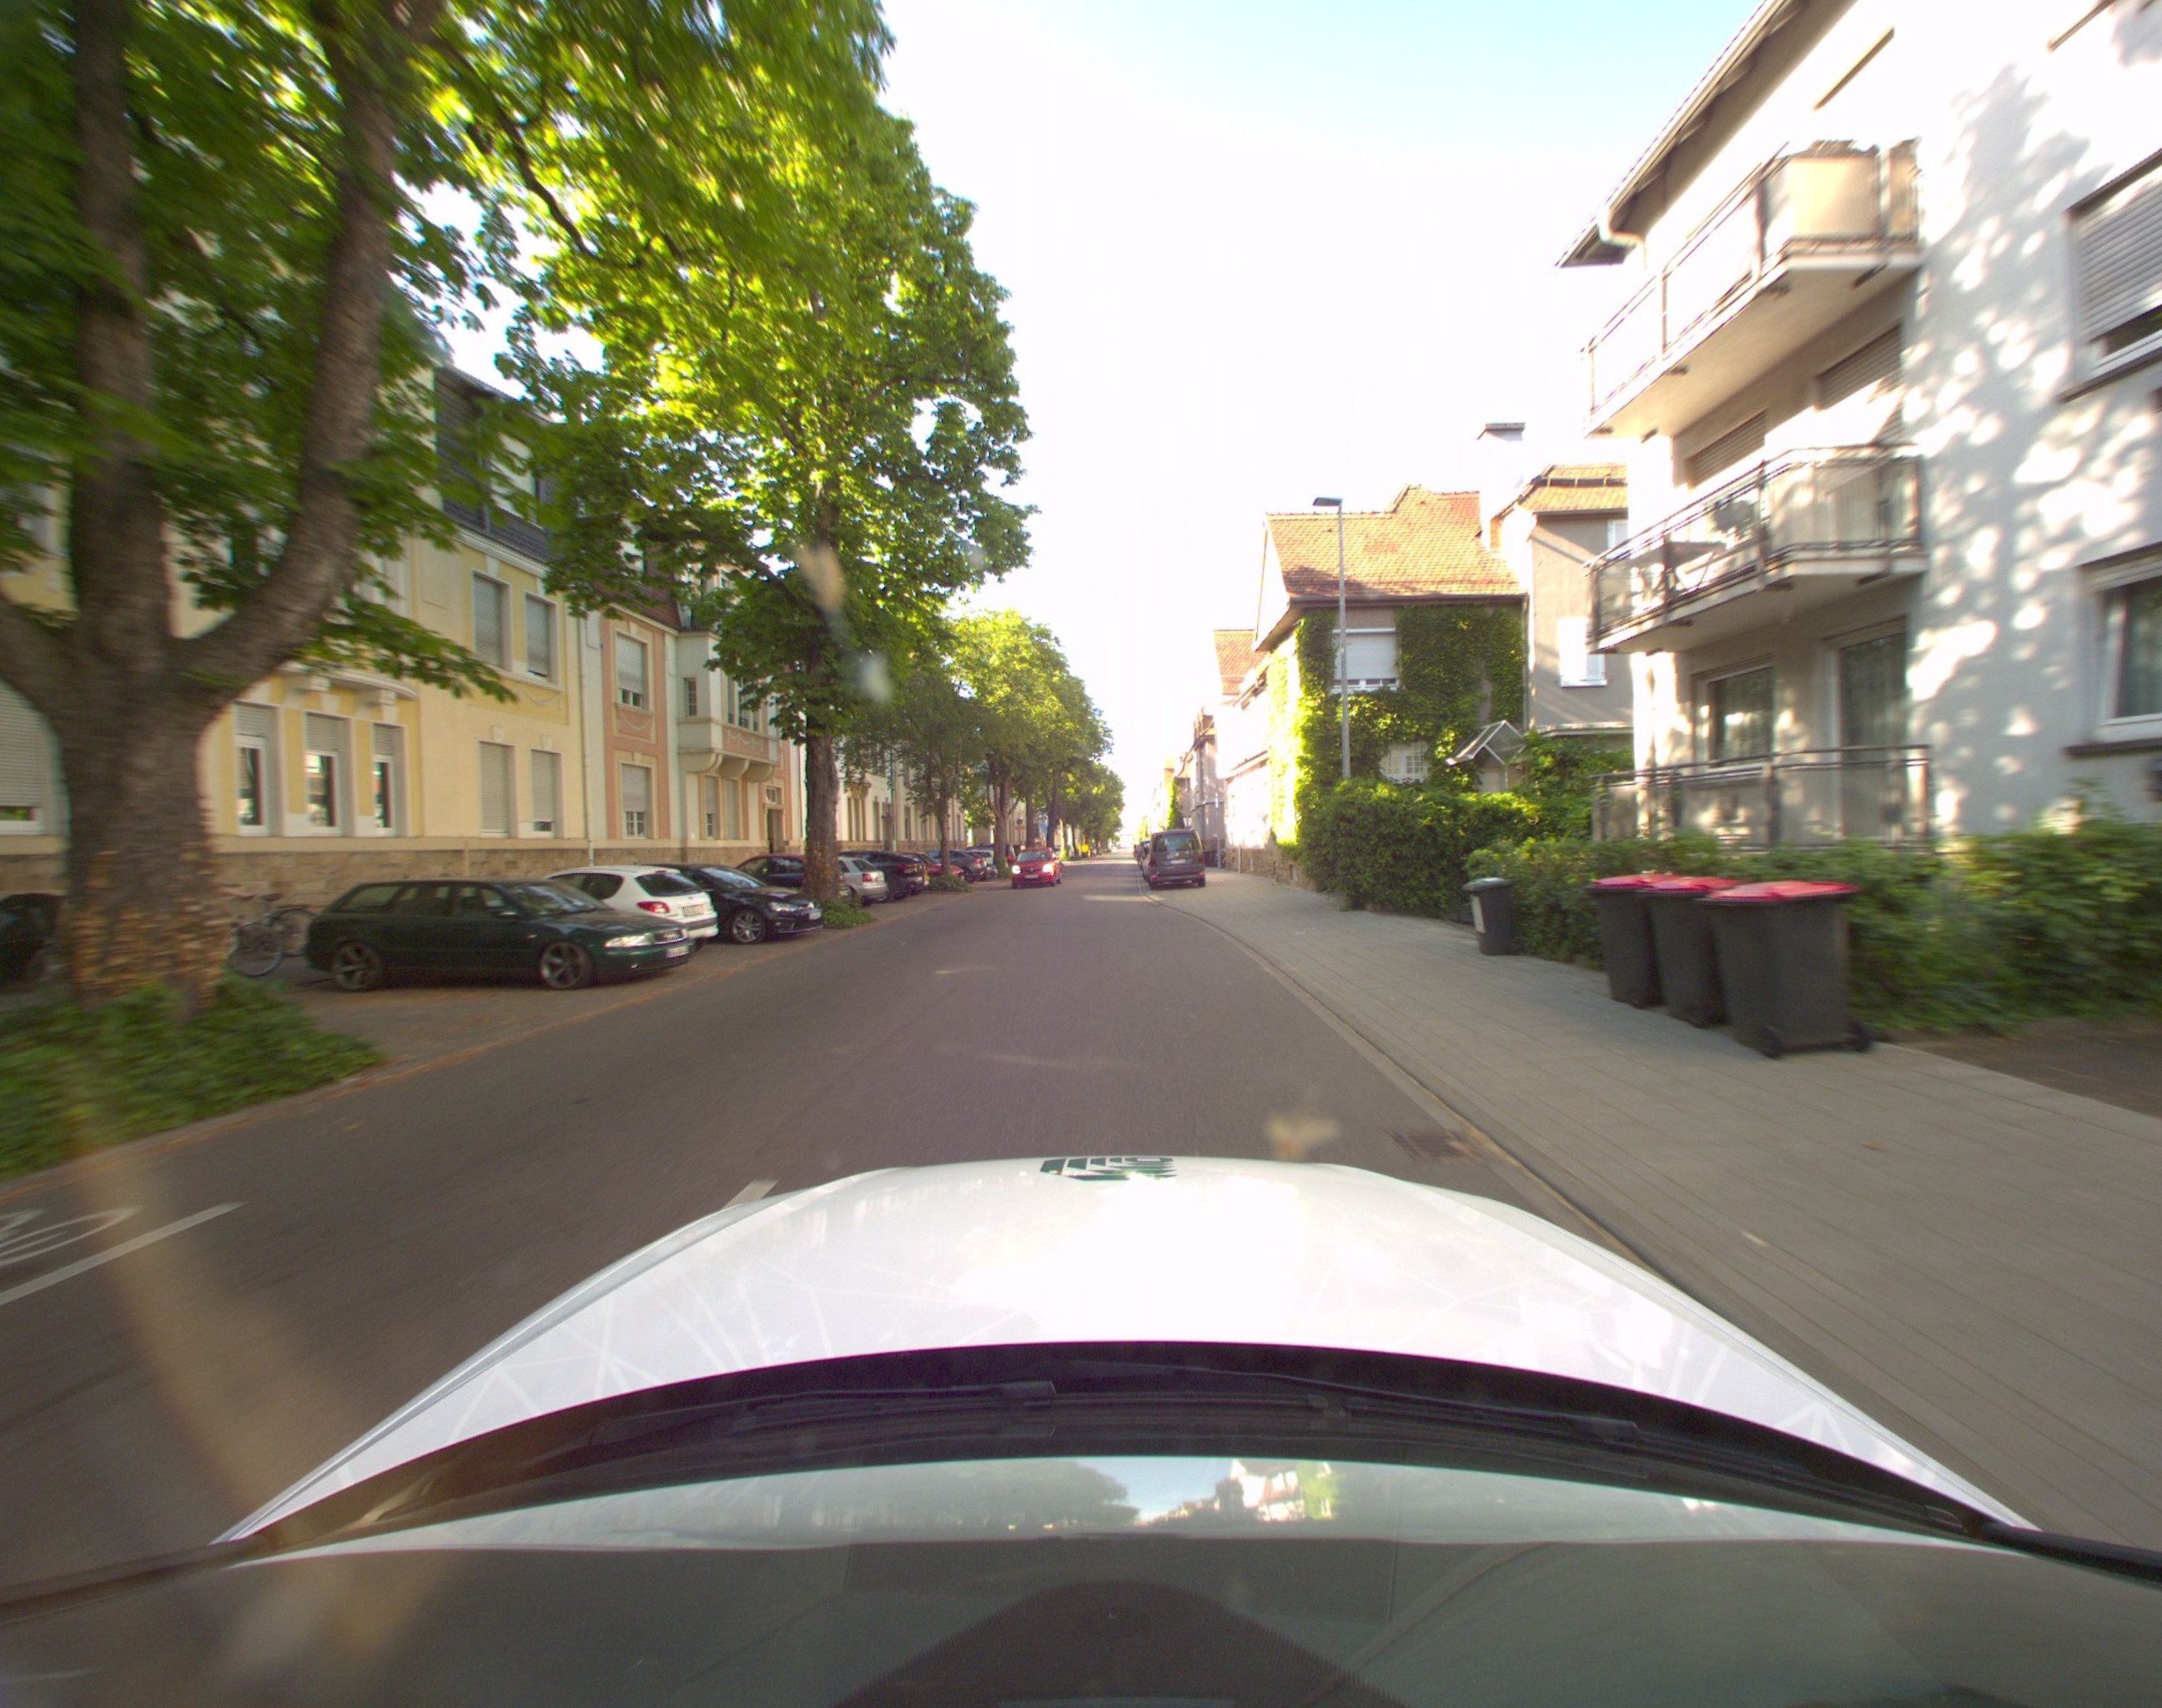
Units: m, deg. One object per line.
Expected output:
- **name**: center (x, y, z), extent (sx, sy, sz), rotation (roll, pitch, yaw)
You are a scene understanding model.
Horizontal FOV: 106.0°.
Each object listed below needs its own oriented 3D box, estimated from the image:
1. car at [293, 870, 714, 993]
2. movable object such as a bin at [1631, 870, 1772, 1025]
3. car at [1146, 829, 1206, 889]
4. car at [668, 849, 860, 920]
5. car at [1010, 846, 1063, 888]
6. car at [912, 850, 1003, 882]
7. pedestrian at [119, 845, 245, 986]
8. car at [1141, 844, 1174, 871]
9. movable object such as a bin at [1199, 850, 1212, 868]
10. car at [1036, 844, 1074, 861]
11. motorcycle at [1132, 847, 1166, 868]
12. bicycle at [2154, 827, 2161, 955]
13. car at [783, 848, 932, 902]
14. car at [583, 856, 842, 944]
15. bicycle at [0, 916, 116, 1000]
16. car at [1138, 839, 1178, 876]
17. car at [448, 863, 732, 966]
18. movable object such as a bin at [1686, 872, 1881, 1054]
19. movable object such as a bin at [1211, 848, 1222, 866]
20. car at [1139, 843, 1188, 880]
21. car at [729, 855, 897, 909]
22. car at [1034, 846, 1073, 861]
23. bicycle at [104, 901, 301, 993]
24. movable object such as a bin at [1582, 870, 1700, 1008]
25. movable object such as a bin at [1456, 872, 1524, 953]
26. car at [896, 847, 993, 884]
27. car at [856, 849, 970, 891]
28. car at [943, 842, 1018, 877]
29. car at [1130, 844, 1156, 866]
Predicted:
- **car**: center (-7.182, 0.933, 10.404), extent (4.194, 1.349, 1.704), rotation (-1, 0, 2)
- **movable object such as a bin**: center (4.656, 0.675, 6.149), extent (0.481, 1.044, 0.657), rotation (-5, 0, 1)
- **car**: center (3.314, 0.134, 29.151), extent (1.857, 1.916, 4.787), rotation (-1, 1, 4)
- **car**: center (-7.757, 0.724, 20.143), extent (3.969, 1.508, 1.724), rotation (-3, 0, 4)
- **car**: center (-1.713, 0.468, 32.156), extent (1.634, 1.508, 3.705), rotation (-3, 0, 3)
- **car**: center (-5.875, 0.580, 38.927), extent (3.880, 1.446, 1.863), rotation (-1, 0, 8)
- **pedestrian**: center (-11.063, 0.729, 10.051), extent (0.457, 1.658, 0.897), rotation (-2, 0, 11)
- **car**: center (4.754, 0.163, 50.954), extent (1.846, 1.493, 4.613), rotation (-3, 0, 4)
- **movable object such as a bin**: center (7.604, 0.292, 49.638), extent (0.645, 1.039, 0.828), rotation (-3, 0, 1)
- **car**: center (-2.690, -0.157, 85.882), extent (3.975, 1.760, 1.797), rotation (0, 0, -1)
- **motorcycle**: center (4.646, 0.236, 55.714), extent (2.207, 1.339, 0.912), rotation (0, 2, -30)
- **bicycle**: center (6.611, 0.464, 4.518), extent (1.587, 1.186, 0.636), rotation (-5, 1, -41)
- **car**: center (-6.780, 0.621, 24.946), extent (3.969, 1.566, 1.866), rotation (-1, 0, 4)
- **car**: center (-6.732, 0.808, 15.138), extent (3.969, 1.482, 1.787), rotation (-1, 0, 4)
- **bicycle**: center (-11.928, 1.164, 9.323), extent (0.571, 0.815, 0.968), rotation (1, 0, 2)
- **car**: center (3.809, 0.164, 40.495), extent (1.781, 1.600, 4.005), rotation (-4, 0, 4)
- **car**: center (-7.567, 0.907, 12.747), extent (3.417, 1.452, 1.705), rotation (-1, 0, 5)
- **movable object such as a bin**: center (4.572, 0.675, 5.350), extent (0.595, 1.044, 0.707), rotation (-5, 0, 1)
- **movable object such as a bin**: center (8.256, 0.193, 49.628), extent (0.566, 1.039, 0.618), rotation (-3, 0, 1)
- **car**: center (3.502, 0.277, 35.343), extent (1.673, 1.457, 4.439), rotation (-2, 1, 1)
- **car**: center (-7.323, 0.757, 22.521), extent (3.969, 1.403, 1.832), rotation (0, 0, 4)
- **car**: center (-2.773, -0.024, 83.570), extent (3.975, 1.464, 1.797), rotation (0, 0, -1)
- **bicycle**: center (-10.595, 1.087, 9.901), extent (0.469, 0.911, 1.601), rotation (-2, 0, 10)
- **movable object such as a bin**: center (4.684, 0.688, 6.844), extent (0.481, 1.044, 0.618), rotation (-5, 0, 1)
- **movable object such as a bin**: center (5.052, 0.713, 10.082), extent (0.501, 0.915, 0.574), rotation (-5, 0, 5)
- **car**: center (-6.071, 0.510, 36.633), extent (3.971, 1.592, 1.860), rotation (-1, 0, 2)
- **car**: center (-6.464, 0.594, 31.557), extent (3.970, 1.514, 1.749), rotation (-1, 0, 3)
- **car**: center (-5.652, 0.304, 46.178), extent (3.964, 1.855, 1.830), rotation (-1, 0, 2)
- **car**: center (4.813, 0.039, 63.508), extent (1.693, 1.539, 4.157), rotation (-4, 0, 2)
